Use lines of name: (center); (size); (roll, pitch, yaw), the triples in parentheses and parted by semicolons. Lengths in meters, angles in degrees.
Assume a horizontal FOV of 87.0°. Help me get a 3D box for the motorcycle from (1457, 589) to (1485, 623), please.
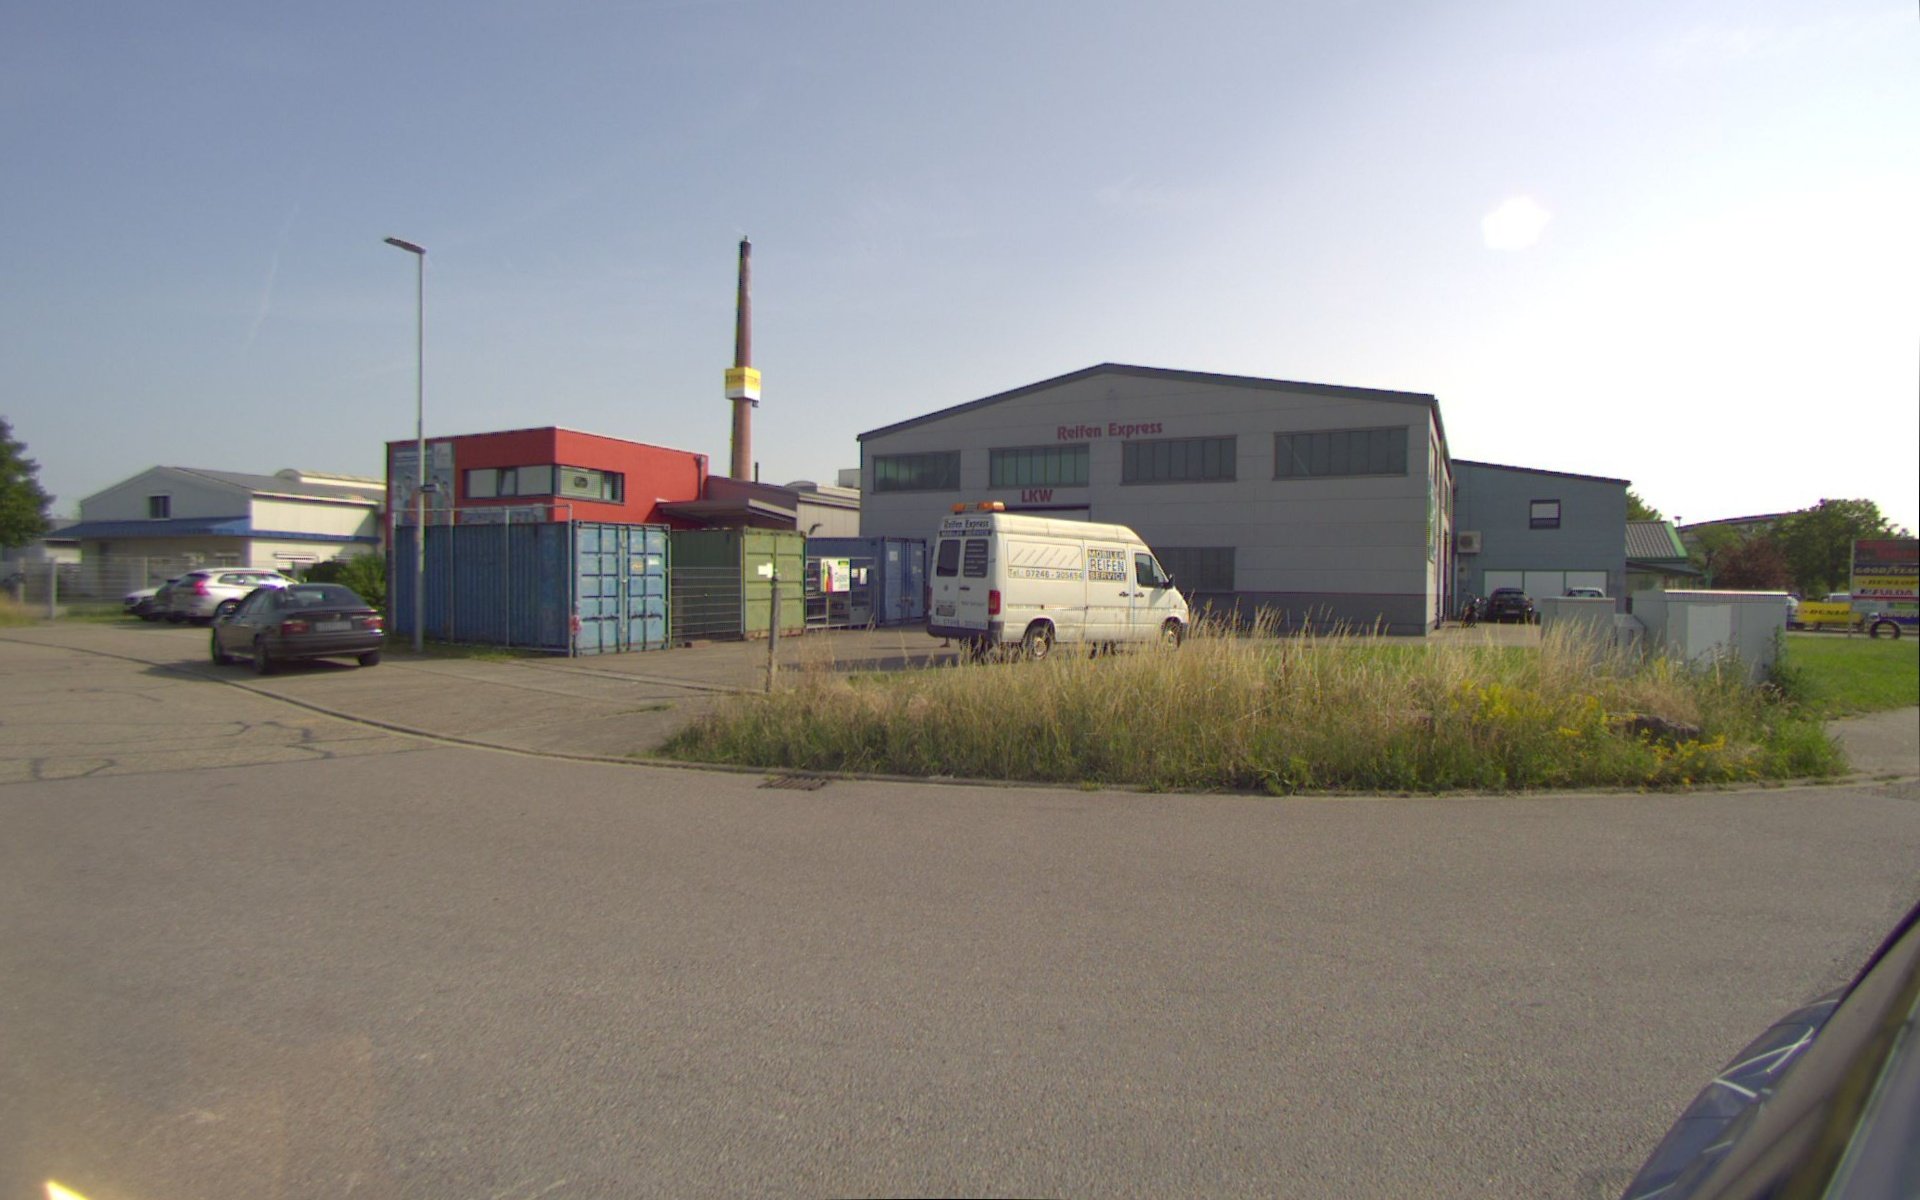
motorcycle: (17.149, 0.179, 34.009); (0.795, 1.108, 2.183); (1, 1, 26)

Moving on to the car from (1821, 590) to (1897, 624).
car: (44.213, 0.308, 49.875); (1.703, 1.592, 4.096); (1, 1, 26)

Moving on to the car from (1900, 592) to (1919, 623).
car: (47.066, 0.365, 48.520); (1.676, 1.484, 4.225); (1, 1, 26)

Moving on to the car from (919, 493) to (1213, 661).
car: (2.139, -0.399, 19.058); (5.774, 2.739, 1.979); (0, 1, -39)

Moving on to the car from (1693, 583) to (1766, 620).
car: (33.472, 0.032, 44.149); (1.628, 1.484, 4.421); (1, 1, 26)

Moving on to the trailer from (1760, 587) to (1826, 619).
trailer: (35.167, 0.127, 42.808); (1.480, 1.264, 2.950); (-1, 0, 26)

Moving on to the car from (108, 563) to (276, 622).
car: (-25.599, -0.271, 33.871); (1.701, 1.819, 4.163); (1, 1, 30)

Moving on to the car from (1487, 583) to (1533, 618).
car: (23.565, 0.005, 43.379); (1.667, 1.420, 3.675); (1, 1, 28)

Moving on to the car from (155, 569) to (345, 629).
car: (-21.381, -0.072, 30.664); (1.772, 1.653, 4.420); (1, 1, 30)

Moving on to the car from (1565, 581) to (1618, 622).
car: (26.323, 0.035, 42.295); (1.624, 1.587, 3.768); (1, 1, 28)

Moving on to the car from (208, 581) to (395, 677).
car: (-11.626, 0.402, 17.742); (4.458, 1.426, 1.783); (2, 2, 44)

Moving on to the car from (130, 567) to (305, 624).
car: (-23.528, -0.170, 32.210); (1.772, 1.653, 4.163); (1, 1, 30)

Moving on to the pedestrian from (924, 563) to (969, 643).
pedestrian: (-0.288, 0.054, 21.421); (0.733, 1.660, 0.706); (0, 0, -23)

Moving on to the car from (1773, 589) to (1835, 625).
car: (42.220, 0.305, 50.670); (1.627, 1.741, 3.185); (1, 1, 26)
